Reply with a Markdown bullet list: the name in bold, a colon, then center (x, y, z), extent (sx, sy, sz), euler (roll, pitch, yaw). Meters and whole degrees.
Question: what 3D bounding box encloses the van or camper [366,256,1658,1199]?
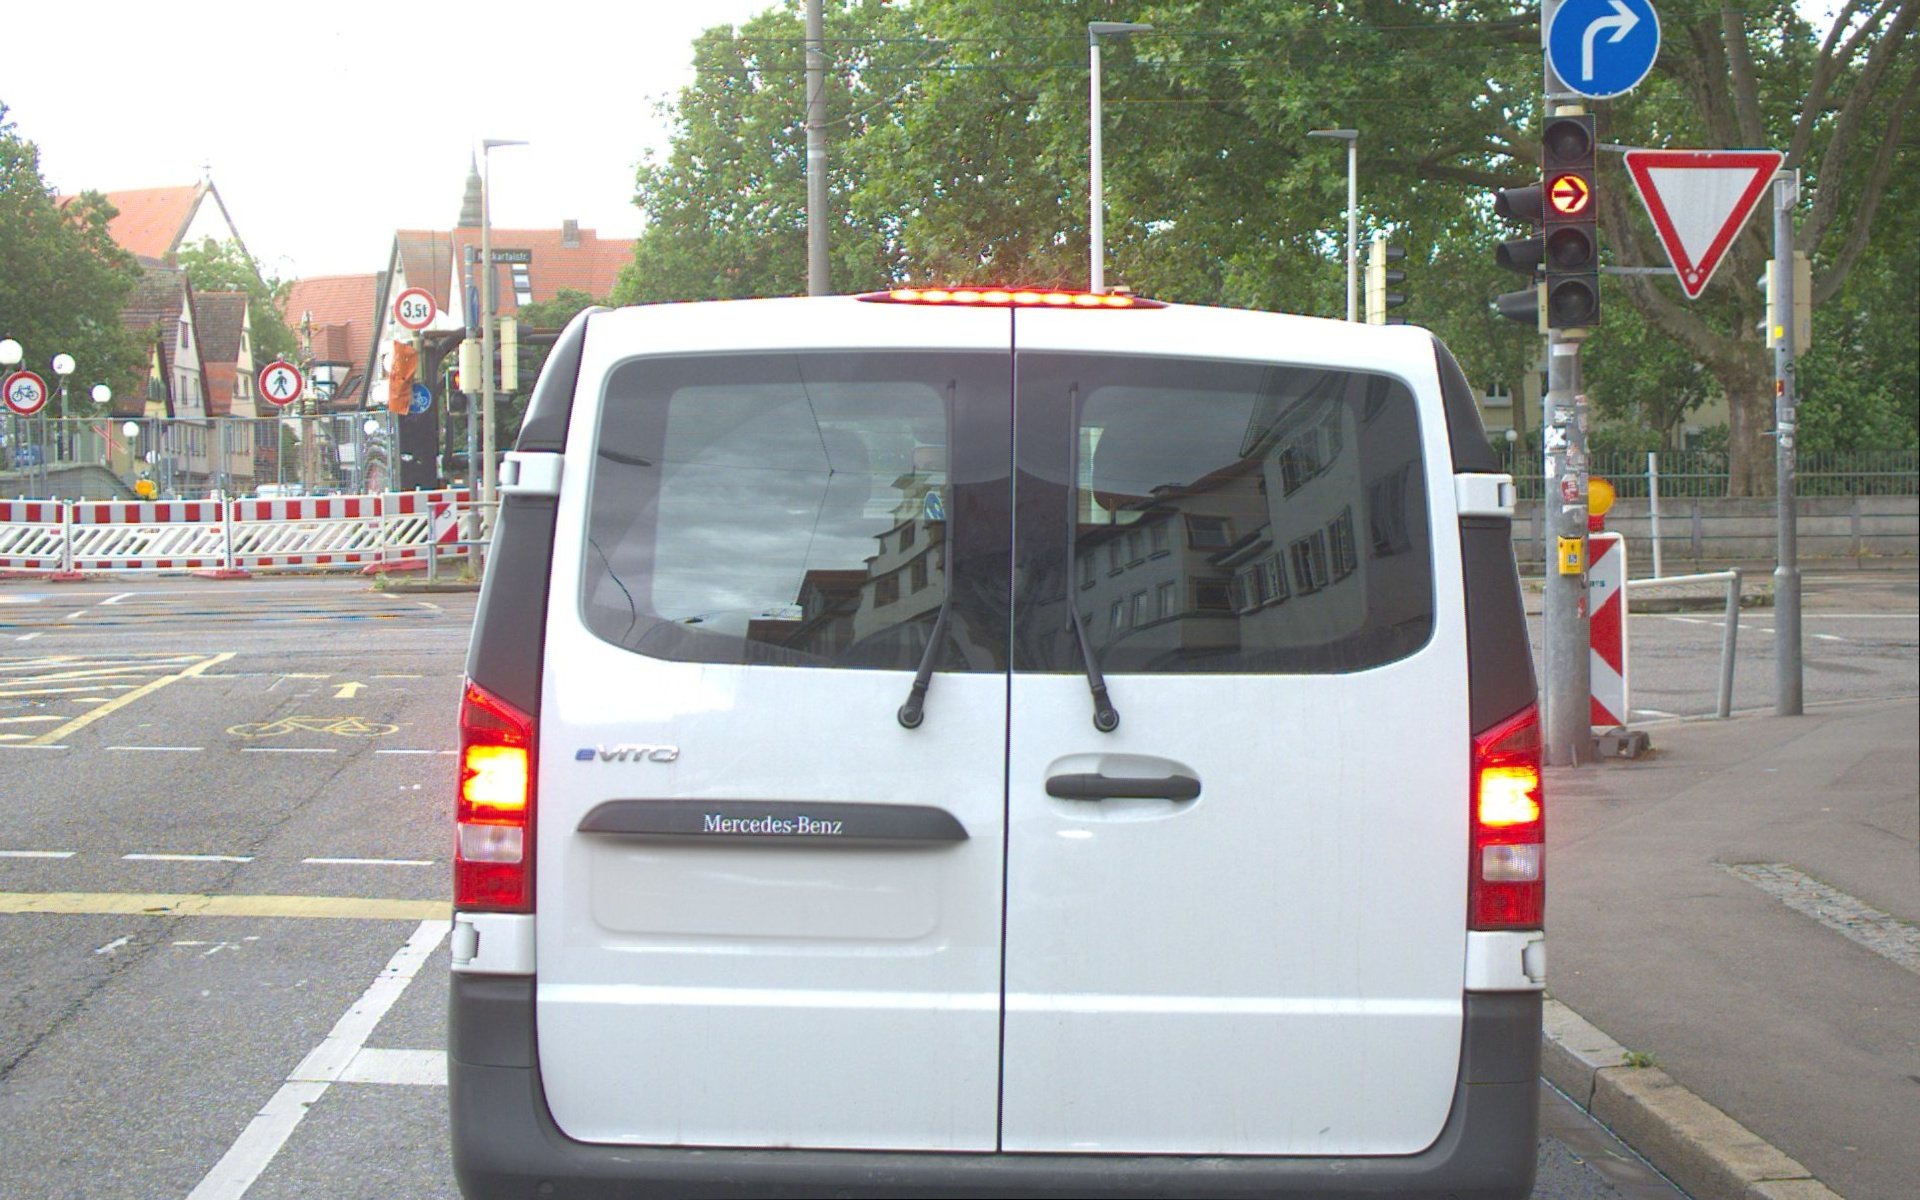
- **van or camper**: center (-0.060, 0.347, 7.430), extent (1.937, 1.918, 4.442), euler (1, 3, -4)
